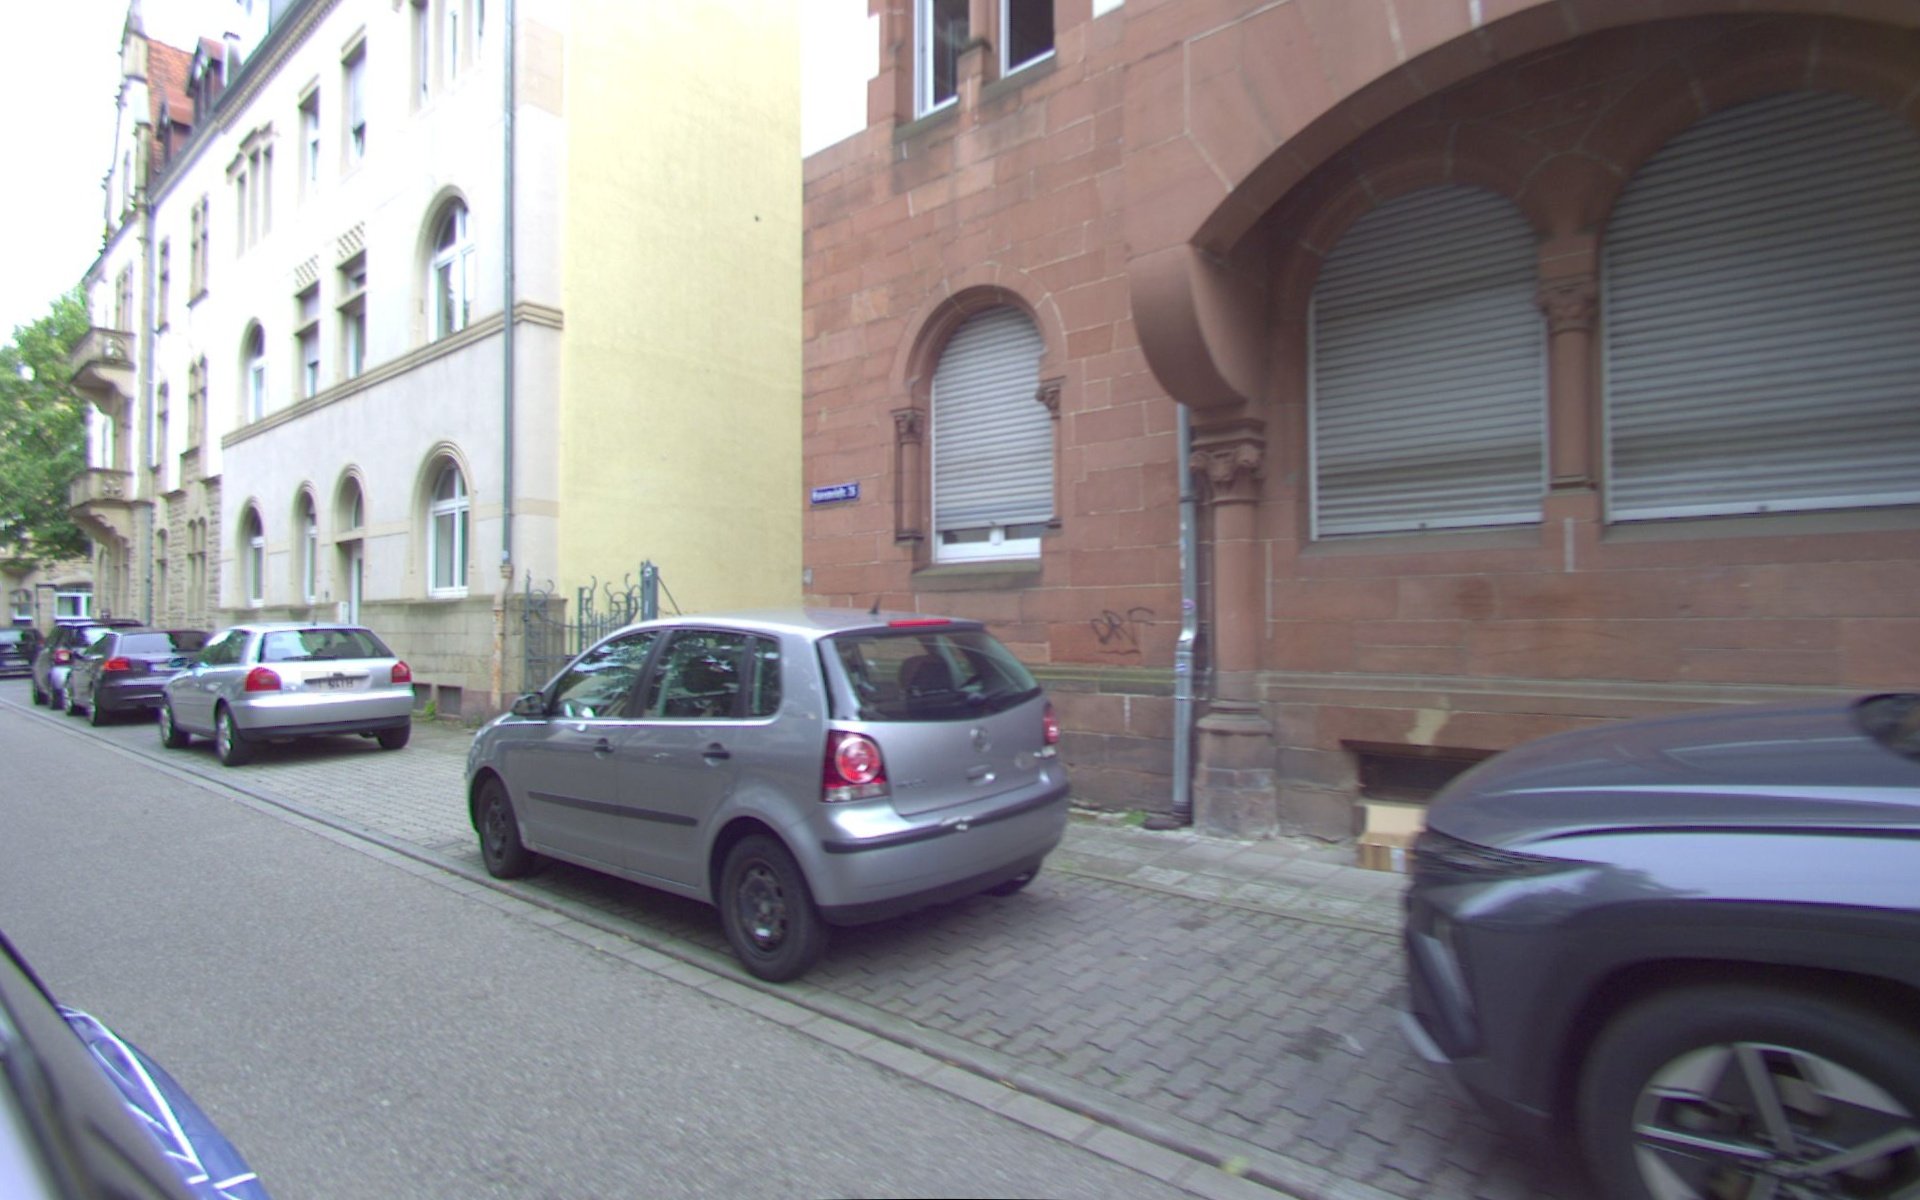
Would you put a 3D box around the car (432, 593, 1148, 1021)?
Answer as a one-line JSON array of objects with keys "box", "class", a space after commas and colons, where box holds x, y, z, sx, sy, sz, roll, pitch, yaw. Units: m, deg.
[{"box": [-1.152, 0.741, 5.355, 3.928, 1.431, 1.645, -2, -1, 42], "class": "car"}]

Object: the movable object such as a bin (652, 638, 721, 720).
[{"box": [-3.729, 1.059, 13.808, 0.730, 1.063, 0.607, -2, -1, 41], "class": "movable object such as a bin"}]

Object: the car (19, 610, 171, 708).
[{"box": [-16.041, 1.059, 18.734, 2.954, 1.582, 1.630, -3, 0, 40], "class": "car"}]

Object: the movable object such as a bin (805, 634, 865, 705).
[{"box": [-1.972, 1.074, 15.927, 0.730, 1.063, 0.607, -2, -1, 41], "class": "movable object such as a bin"}]

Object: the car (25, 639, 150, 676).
[{"box": [-39.414, 2.562, 45.794, 4.220, 1.477, 1.665, 2, 1, -42], "class": "car"}]

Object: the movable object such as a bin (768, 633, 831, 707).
[{"box": [-2.434, 1.046, 15.340, 0.730, 1.063, 0.607, -2, -1, 41], "class": "movable object such as a bin"}]

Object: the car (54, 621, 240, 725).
[{"box": [-12.839, 1.071, 15.901, 3.928, 1.397, 1.708, -2, -1, 42], "class": "car"}]

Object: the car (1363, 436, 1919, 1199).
[{"box": [3.205, 0.498, 1.673, 4.359, 1.659, 1.768, -2, -1, 41], "class": "car"}]

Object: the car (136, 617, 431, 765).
[{"box": [-7.817, 0.921, 11.554, 4.133, 1.397, 1.709, -2, -2, 40], "class": "car"}]

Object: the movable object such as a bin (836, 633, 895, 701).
[{"box": [-1.534, 1.072, 16.448, 0.730, 1.063, 0.607, -2, -1, 41], "class": "movable object such as a bin"}]

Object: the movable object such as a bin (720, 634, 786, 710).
[{"box": [-3.003, 1.026, 14.686, 0.730, 1.063, 0.607, -2, -1, 41], "class": "movable object such as a bin"}]

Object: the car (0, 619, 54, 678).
[{"box": [-26.814, 1.358, 28.362, 3.999, 1.506, 1.691, -2, 1, 42], "class": "car"}]

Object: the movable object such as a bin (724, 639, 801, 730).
[{"box": [-2.427, 1.016, 12.449, 0.730, 1.063, 0.607, -2, -1, 41], "class": "movable object such as a bin"}]
